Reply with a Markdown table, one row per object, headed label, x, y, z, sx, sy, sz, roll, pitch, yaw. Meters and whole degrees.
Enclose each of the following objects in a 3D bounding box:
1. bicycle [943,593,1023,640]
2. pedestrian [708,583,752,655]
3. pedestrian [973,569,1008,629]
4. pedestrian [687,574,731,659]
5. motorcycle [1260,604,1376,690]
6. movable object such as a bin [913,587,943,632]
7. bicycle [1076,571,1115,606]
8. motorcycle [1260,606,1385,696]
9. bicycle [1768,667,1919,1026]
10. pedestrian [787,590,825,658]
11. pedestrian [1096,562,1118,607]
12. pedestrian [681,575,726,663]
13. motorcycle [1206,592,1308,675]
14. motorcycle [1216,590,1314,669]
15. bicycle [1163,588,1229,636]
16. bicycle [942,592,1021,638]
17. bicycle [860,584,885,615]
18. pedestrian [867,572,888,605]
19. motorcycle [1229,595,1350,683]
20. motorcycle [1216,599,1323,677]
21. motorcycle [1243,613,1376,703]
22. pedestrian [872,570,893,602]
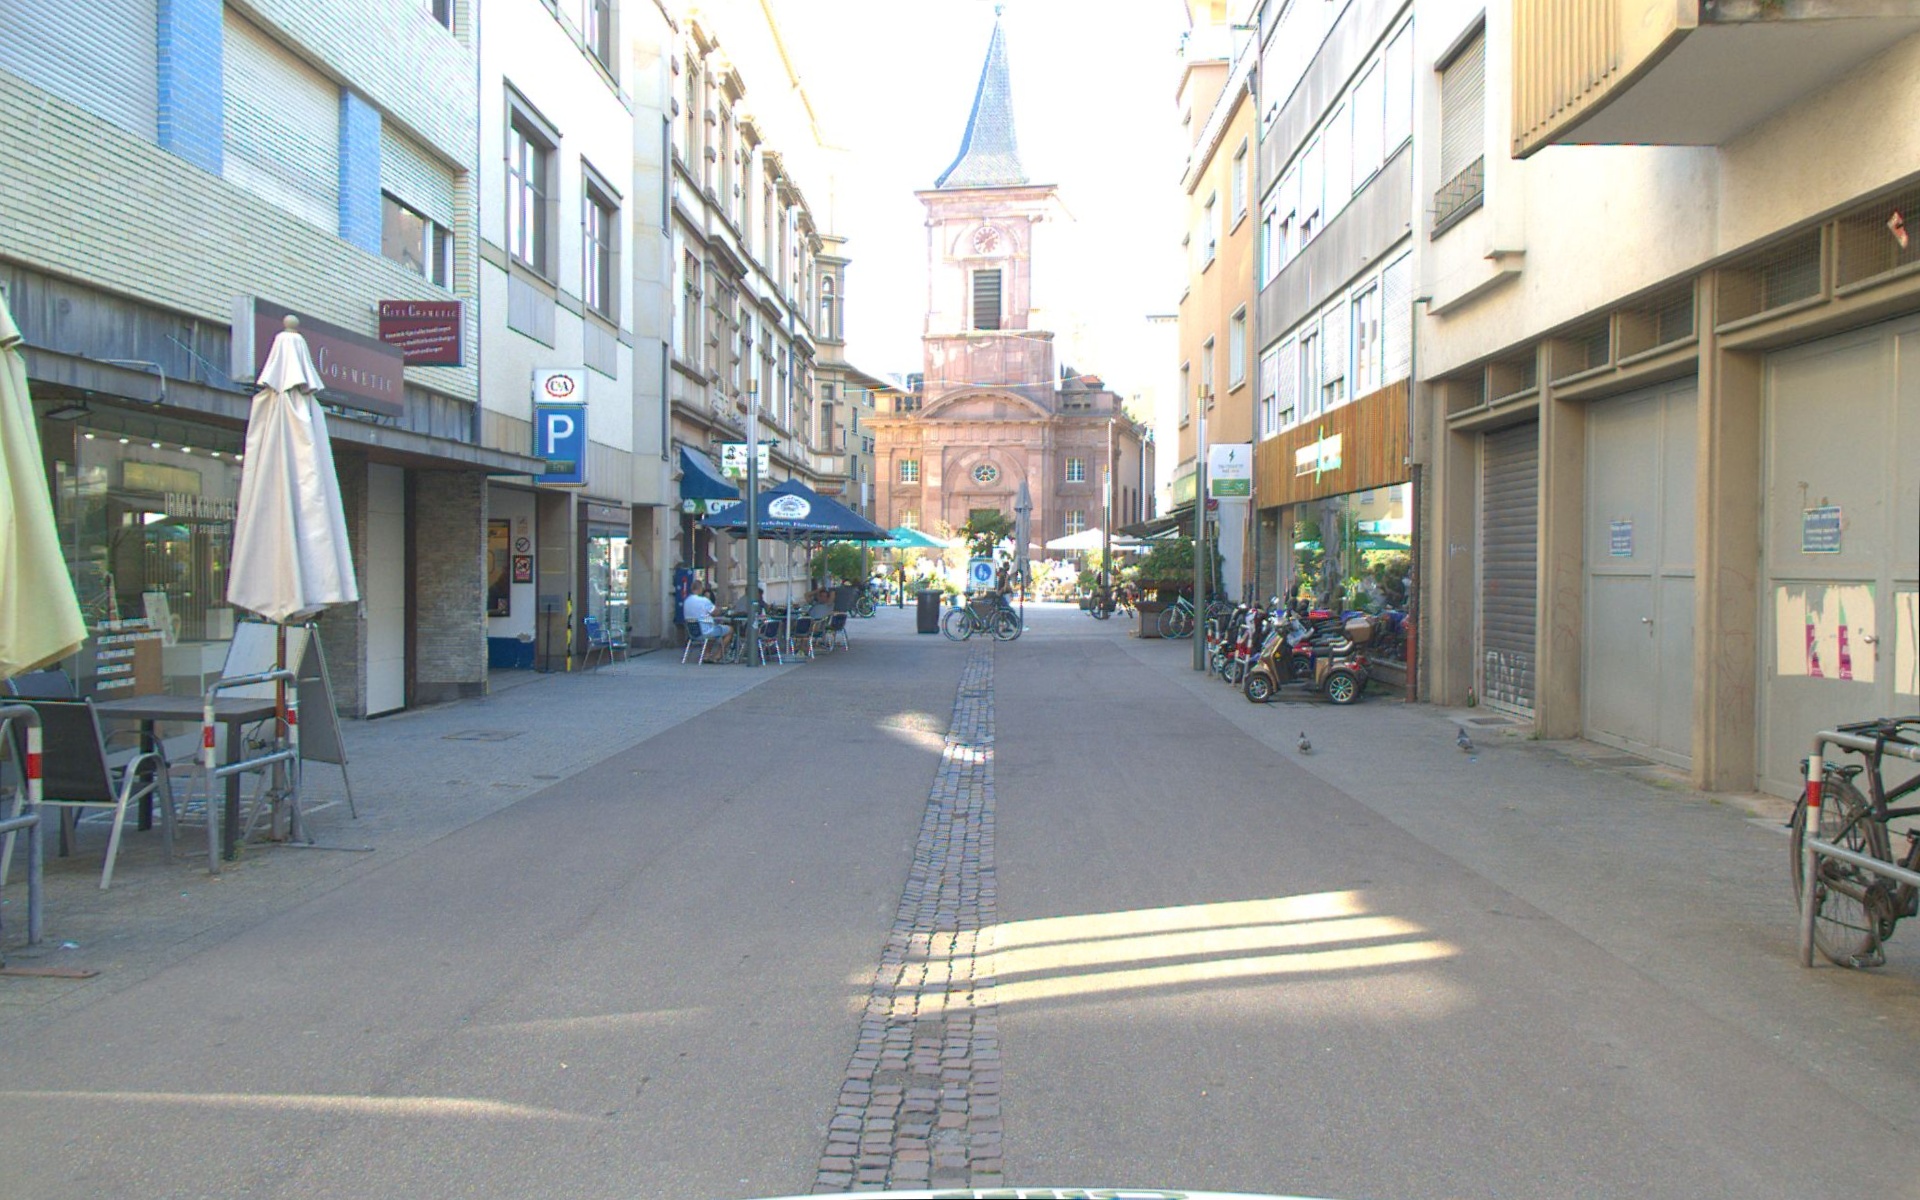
| label | x | y | z | sx | sy | sz | roll | pitch | yaw |
| --- | --- | --- | --- | --- | --- | --- | --- | --- | --- |
| bicycle | 0.513 | 0.364 | 37.005 | 1.787 | 1.022 | 0.381 | 0 | 1 | -3 |
| pedestrian | -4.095 | 0.334 | 29.474 | 0.750 | 1.254 | 0.830 | 0 | 1 | -7 |
| pedestrian | 0.775 | -0.034 | 41.525 | 0.865 | 1.489 | 0.731 | 0 | 1 | 1 |
| pedestrian | -4.208 | 0.263 | 27.676 | 0.705 | 1.392 | 0.708 | 0 | 1 | -11 |
| motorcycle | 4.695 | 0.605 | 21.696 | 1.453 | 1.094 | 0.412 | 0 | 1 | 19 |
| movable object such as a bin | -0.775 | 0.221 | 40.298 | 0.706 | 1.093 | 0.374 | 0 | 1 | -1 |
| bicycle | 5.141 | -0.443 | 62.716 | 1.568 | 1.330 | 0.362 | 0 | 1 | -28 |
| motorcycle | 4.536 | 0.628 | 20.705 | 1.485 | 1.094 | 0.412 | 0 | 1 | 19 |
| bicycle | 3.504 | 0.857 | 6.024 | 0.437 | 1.160 | 1.711 | 1 | 0 | 6 |
| pedestrian | -2.819 | 0.432 | 30.273 | 0.679 | 1.236 | 0.582 | 0 | 1 | -7 |
| pedestrian | 5.151 | -0.553 | 58.028 | 0.767 | 1.583 | 0.535 | 0 | 1 | 5 |
| pedestrian | -4.148 | 0.292 | 26.740 | 0.695 | 1.392 | 0.718 | 0 | 1 | -11 |
| motorcycle | 4.405 | 0.493 | 24.564 | 1.452 | 1.202 | 0.412 | 0 | 1 | 16 |
| motorcycle | 4.719 | 0.448 | 25.595 | 1.452 | 1.202 | 0.412 | 0 | 1 | 16 |
| bicycle | 5.189 | 0.264 | 36.406 | 1.432 | 1.022 | 0.573 | 0 | 1 | 8 |
| bicycle | 0.482 | 0.336 | 37.409 | 1.787 | 1.022 | 0.381 | 0 | 1 | -3 |
| bicycle | -2.609 | -0.026 | 49.401 | 0.447 | 0.864 | 2.148 | 0 | 1 | 4 |
| pedestrian | -3.173 | -0.455 | 63.533 | 0.685 | 1.239 | 0.720 | 0 | 1 | 7 |
| motorcycle | 4.566 | 0.530 | 22.930 | 1.590 | 1.195 | 0.481 | 0 | 1 | 19 |
| motorcycle | 4.434 | 0.532 | 23.696 | 1.453 | 1.094 | 0.412 | 0 | 1 | 19 |
| motorcycle | 4.218 | 0.687 | 19.961 | 1.531 | 1.060 | 0.373 | 0 | 1 | 19 |
| pedestrian | -3.043 | -0.544 | 64.961 | 0.685 | 1.239 | 0.720 | 0 | 1 | 7 |
